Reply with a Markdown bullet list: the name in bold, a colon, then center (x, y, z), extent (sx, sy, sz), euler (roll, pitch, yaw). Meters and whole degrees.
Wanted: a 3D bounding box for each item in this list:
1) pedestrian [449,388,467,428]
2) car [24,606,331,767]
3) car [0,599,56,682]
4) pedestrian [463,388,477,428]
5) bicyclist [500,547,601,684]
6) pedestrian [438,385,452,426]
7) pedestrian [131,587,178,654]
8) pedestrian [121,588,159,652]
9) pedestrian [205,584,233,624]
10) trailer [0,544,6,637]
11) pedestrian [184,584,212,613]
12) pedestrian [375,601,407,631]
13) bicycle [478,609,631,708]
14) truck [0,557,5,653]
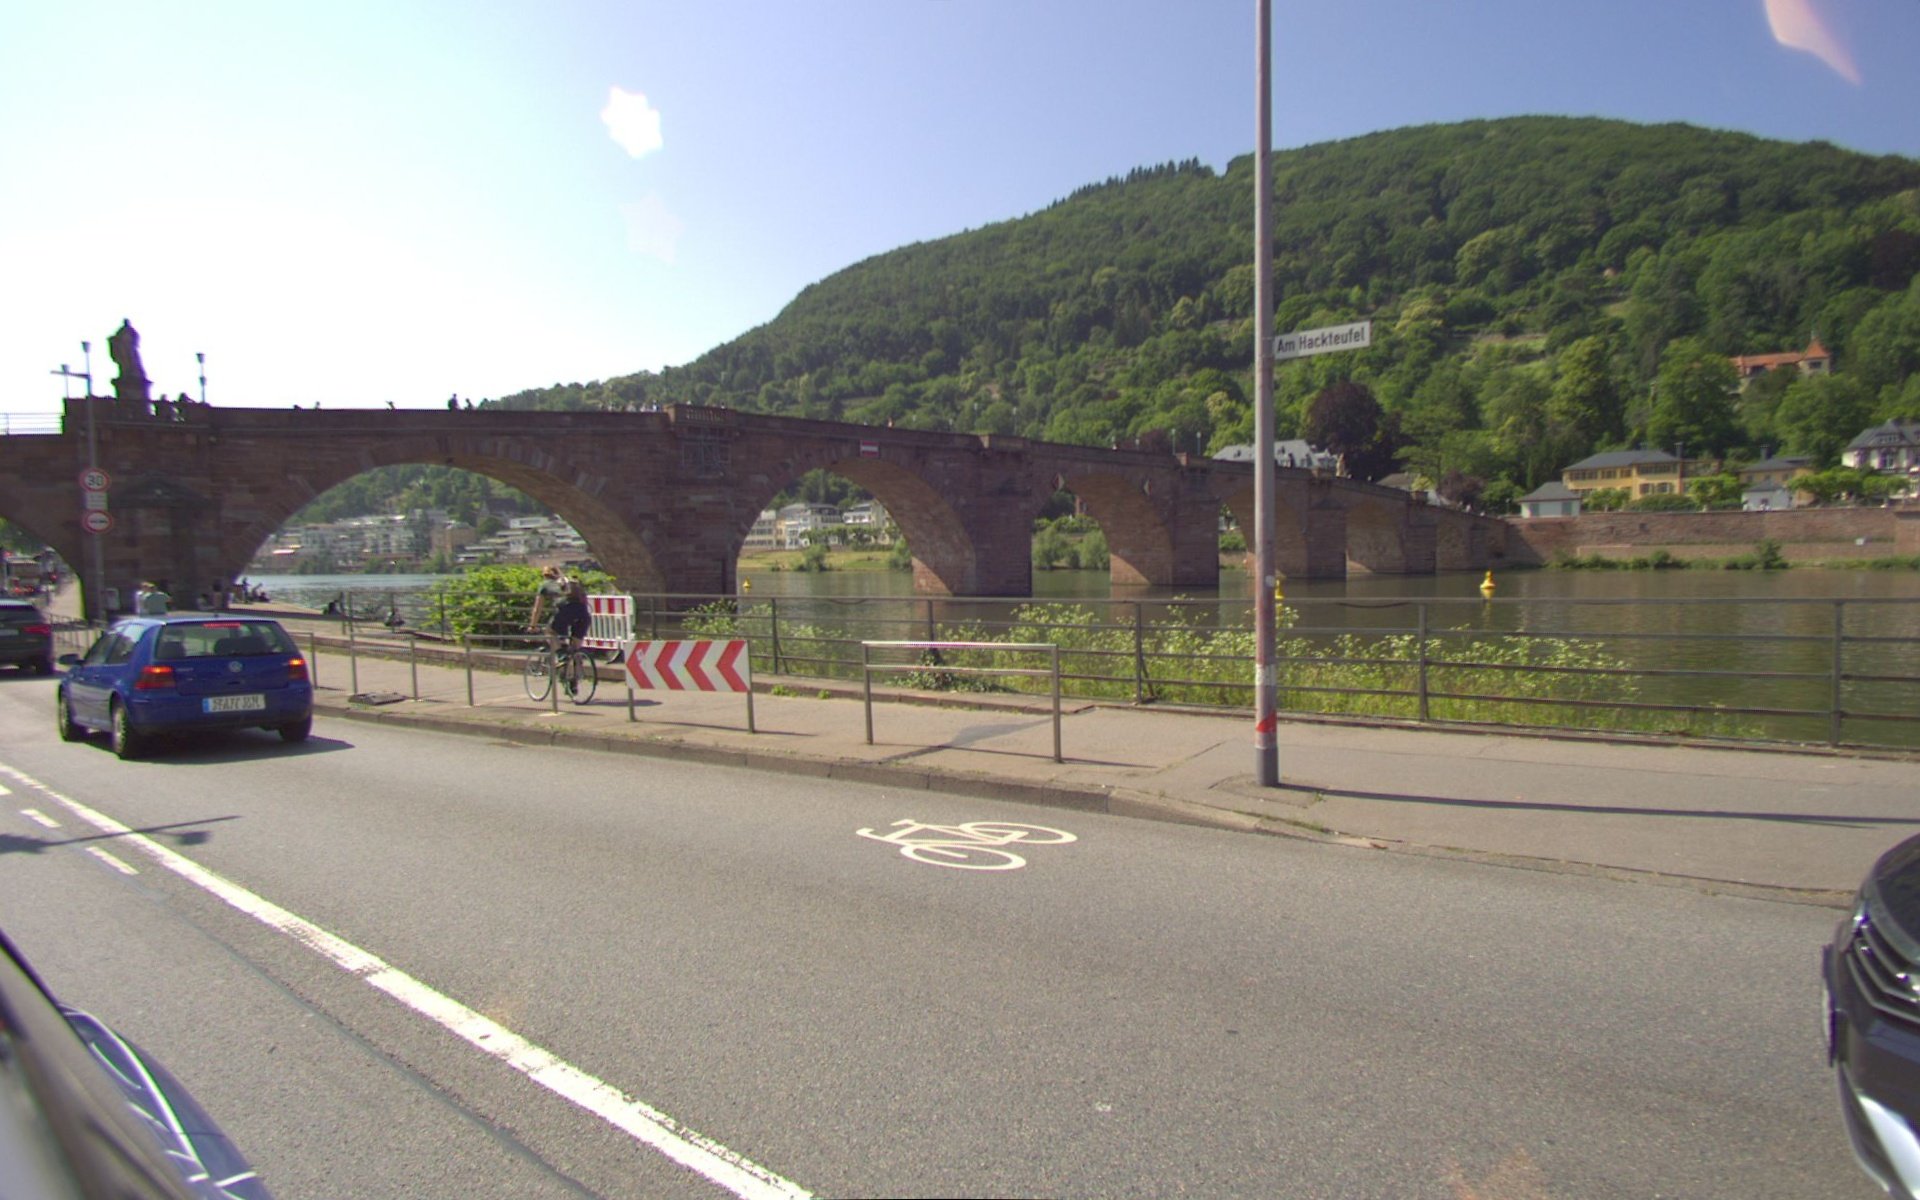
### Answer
- **pedestrian**: center (-27.053, -10.343, 54.562), extent (0.625, 2.028, 0.686), euler (2, 2, 40)
- **car**: center (-9.091, 0.857, 11.634), extent (4.318, 1.502, 1.713), euler (-1, 0, 37)
- **car**: center (-21.449, 0.837, 22.142), extent (4.450, 1.693, 1.844), euler (0, 1, 40)
- **pedestrian**: center (-26.643, -10.429, 55.045), extent (0.639, 2.028, 0.461), euler (2, 2, 40)
- **bicyclist**: center (-5.148, 0.181, 12.728), extent (0.976, 1.643, 0.662), euler (0, 3, 31)
- **pedestrian**: center (-27.532, -10.397, 54.110), extent (0.639, 2.028, 0.461), euler (2, 2, 40)
- **pedestrian**: center (-21.561, 0.535, 27.091), extent (0.538, 1.735, 0.755), euler (-1, 2, 7)
- **pedestrian**: center (-23.641, 0.568, 29.189), extent (0.513, 1.806, 0.824), euler (-2, 2, -19)
- **pedestrian**: center (-31.928, 0.156, 43.612), extent (0.774, 1.663, 0.780), euler (0, 2, 42)
- **trailer**: center (-42.555, -0.469, 43.039), extent (11.537, 3.671, 2.495), euler (2, 2, 45)
- **pedestrian**: center (-33.008, -0.072, 43.832), extent (1.026, 1.239, 0.780), euler (0, 2, 43)
- **pedestrian**: center (-22.983, 0.636, 40.848), extent (0.954, 1.139, 0.832), euler (-2, 1, -41)
- **bicycle**: center (-5.126, 0.724, 12.754), extent (2.027, 1.121, 0.662), euler (-2, 2, 32)
- **truck**: center (-31.520, -0.038, 31.124), extent (7.608, 3.285, 2.351), euler (0, 2, 42)
